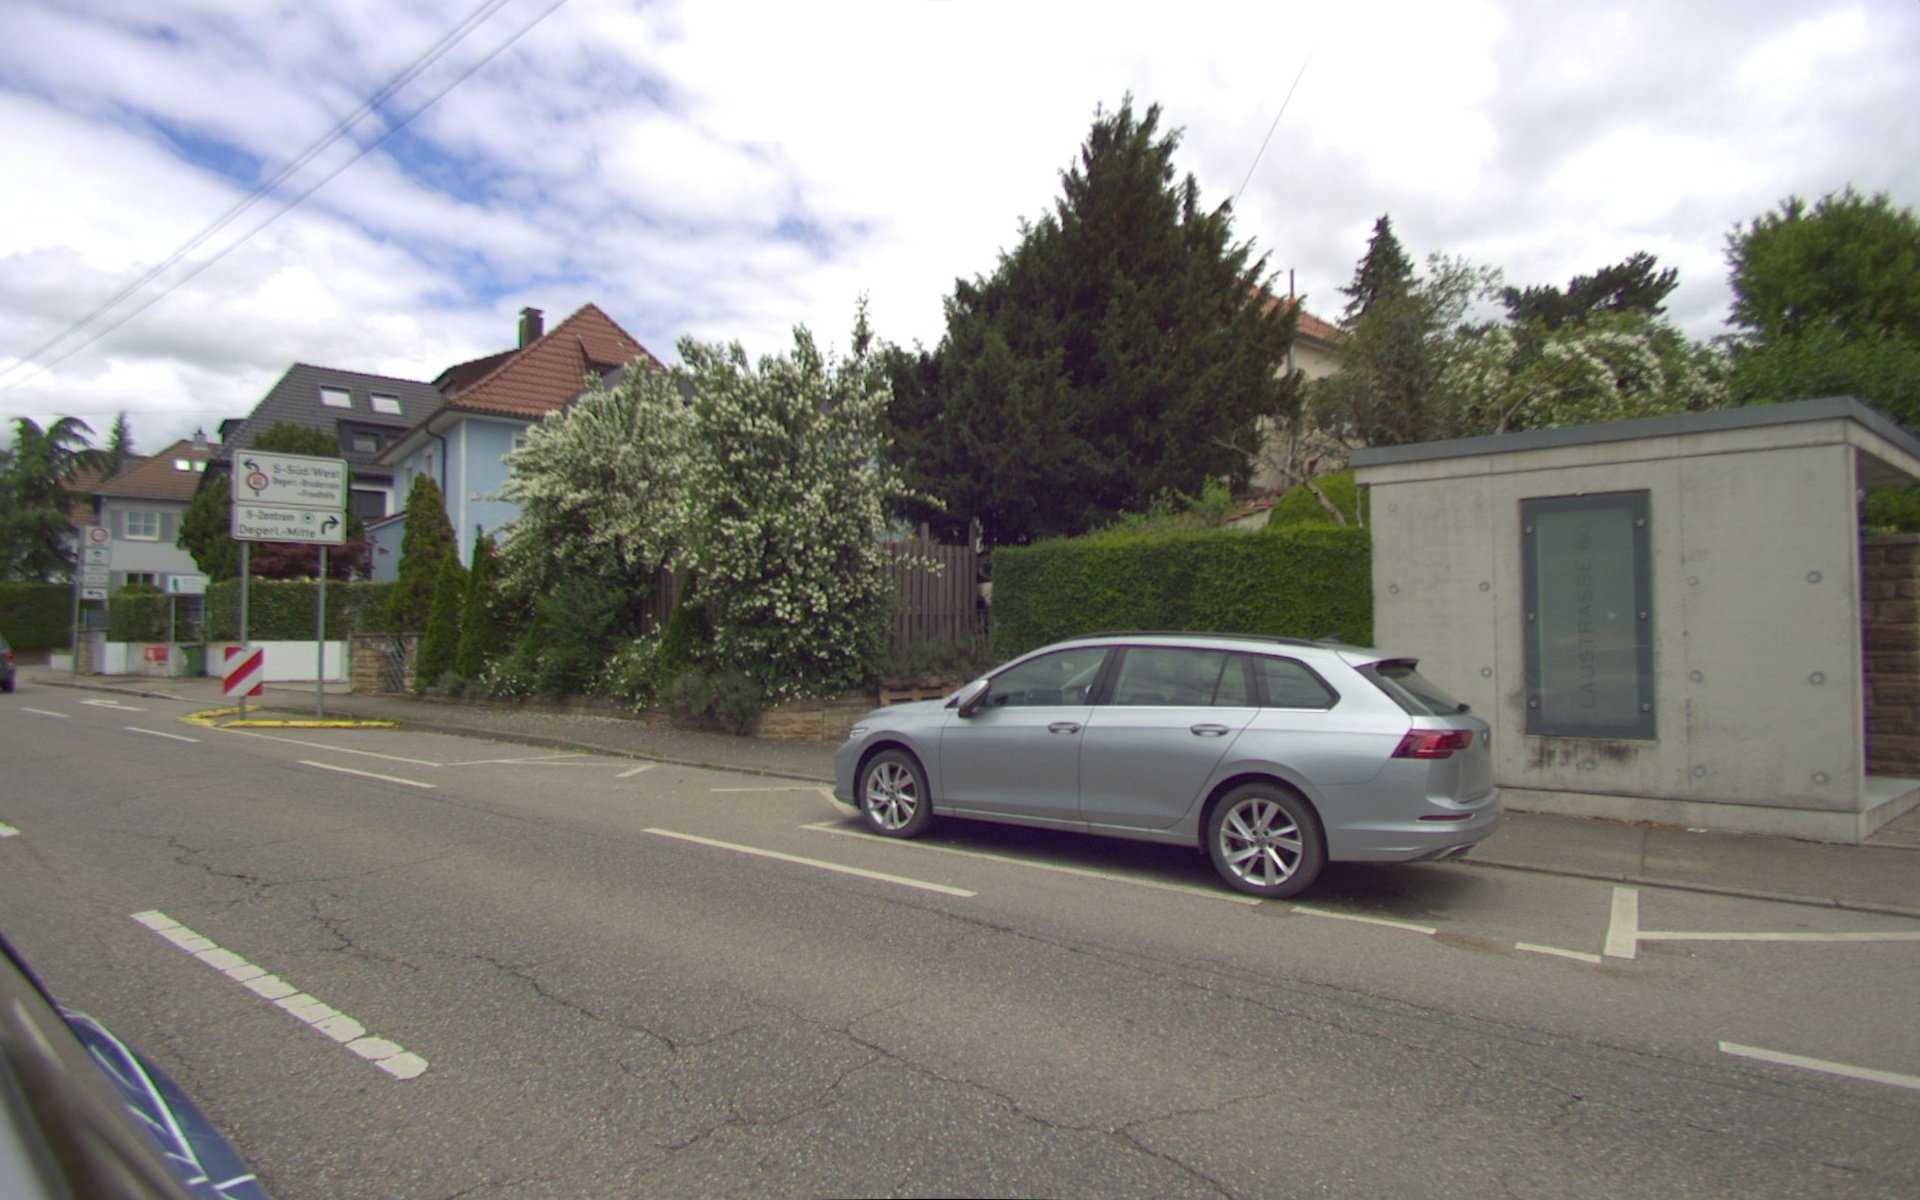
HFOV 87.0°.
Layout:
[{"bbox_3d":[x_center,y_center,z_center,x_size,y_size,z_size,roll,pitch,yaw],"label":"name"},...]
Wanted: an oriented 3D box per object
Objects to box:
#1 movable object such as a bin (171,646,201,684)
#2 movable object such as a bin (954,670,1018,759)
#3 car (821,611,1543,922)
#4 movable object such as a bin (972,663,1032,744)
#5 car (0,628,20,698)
[{"bbox_3d":[-20.721,1.735,27.097,0.540,0.981,0.502,-2,-3,39],"label":"movable object such as a bin"},{"bbox_3d":[0.300,1.306,11.653,0.532,0.949,0.510,1,-1,-41],"label":"movable object such as a bin"},{"bbox_3d":[1.309,0.911,6.832,4.403,1.467,1.793,-2,-5,35],"label":"car"},{"bbox_3d":[0.526,1.276,12.644,0.442,0.949,0.617,1,-1,-42],"label":"movable object such as a bin"},{"bbox_3d":[-23.731,1.472,23.899,4.444,1.565,1.716,-2,-3,40],"label":"car"}]
